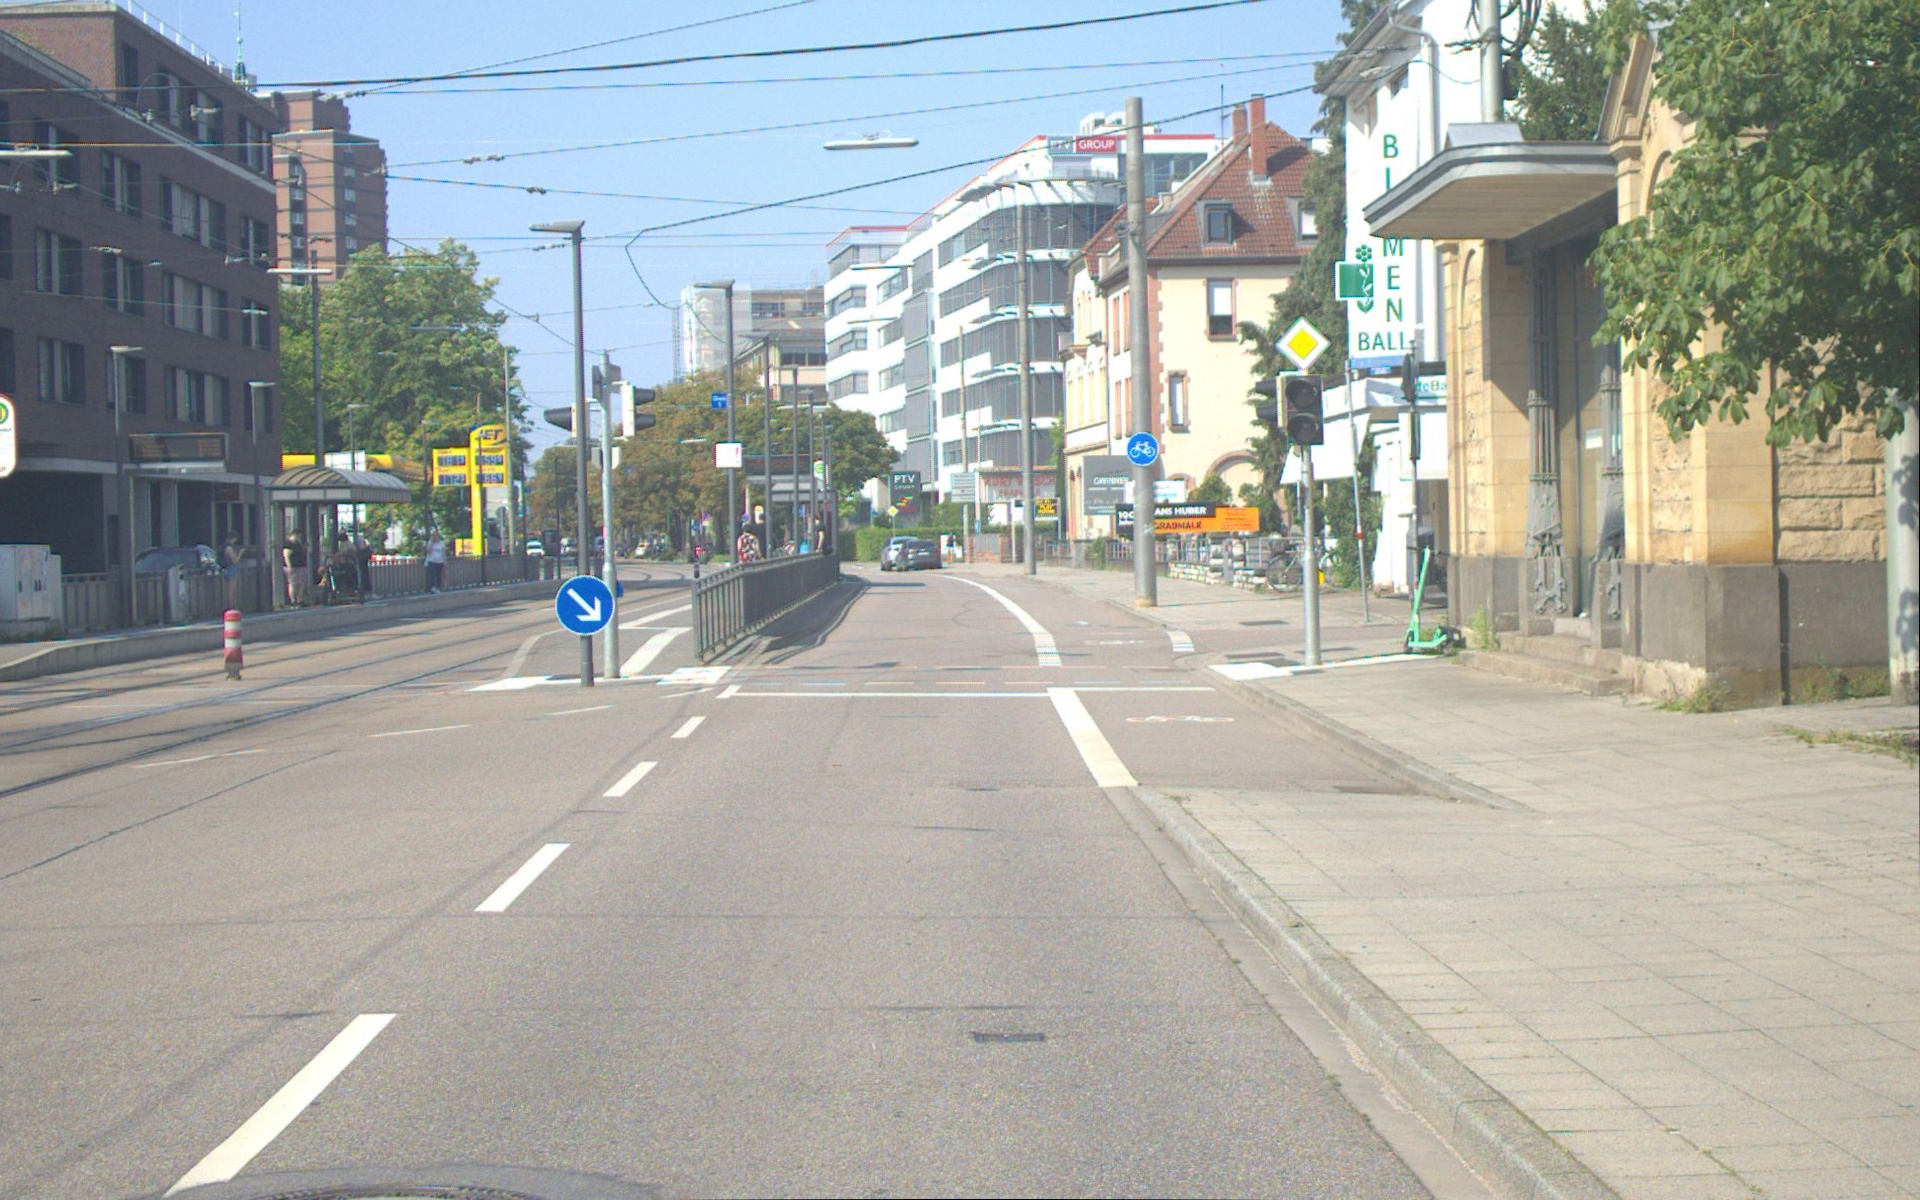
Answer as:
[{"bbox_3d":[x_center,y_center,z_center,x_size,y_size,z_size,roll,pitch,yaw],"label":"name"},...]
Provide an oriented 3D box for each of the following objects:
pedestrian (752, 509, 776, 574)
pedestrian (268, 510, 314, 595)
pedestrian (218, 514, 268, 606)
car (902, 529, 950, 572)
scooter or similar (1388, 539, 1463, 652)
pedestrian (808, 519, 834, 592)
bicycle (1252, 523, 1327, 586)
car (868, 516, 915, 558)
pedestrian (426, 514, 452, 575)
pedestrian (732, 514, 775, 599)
[{"bbox_3d":[-5.241,-1.558,91.818,0.536,1.697,0.582,-3,1,-3],"label":"pedestrian"},{"bbox_3d":[-14.146,-1.004,72.713,0.708,1.741,0.799,-3,1,0],"label":"pedestrian"},{"bbox_3d":[-13.772,-0.772,66.060,0.708,1.717,0.799,-3,1,0],"label":"pedestrian"},{"bbox_3d":[-1.556,-2.278,157.419,2.011,1.852,4.000,-3,1,1],"label":"car"},{"bbox_3d":[4.890,-0.062,36.165,0.523,1.129,1.511,-3,1,0],"label":"scooter or similar"},{"bbox_3d":[-3.302,-1.066,81.672,0.536,1.697,0.582,-3,1,-3],"label":"pedestrian"},{"bbox_3d":[6.417,-0.886,67.091,0.731,1.129,2.840,-5,1,-8],"label":"bicycle"},{"bbox_3d":[-3.245,-2.997,163.480,2.011,1.852,4.000,-3,1,1],"label":"car"},{"bbox_3d":[-13.157,-1.399,86.837,0.532,1.525,0.702,-3,1,-7],"label":"pedestrian"},{"bbox_3d":[-4.197,-0.889,69.953,0.720,1.697,0.884,-3,1,1],"label":"pedestrian"}]
